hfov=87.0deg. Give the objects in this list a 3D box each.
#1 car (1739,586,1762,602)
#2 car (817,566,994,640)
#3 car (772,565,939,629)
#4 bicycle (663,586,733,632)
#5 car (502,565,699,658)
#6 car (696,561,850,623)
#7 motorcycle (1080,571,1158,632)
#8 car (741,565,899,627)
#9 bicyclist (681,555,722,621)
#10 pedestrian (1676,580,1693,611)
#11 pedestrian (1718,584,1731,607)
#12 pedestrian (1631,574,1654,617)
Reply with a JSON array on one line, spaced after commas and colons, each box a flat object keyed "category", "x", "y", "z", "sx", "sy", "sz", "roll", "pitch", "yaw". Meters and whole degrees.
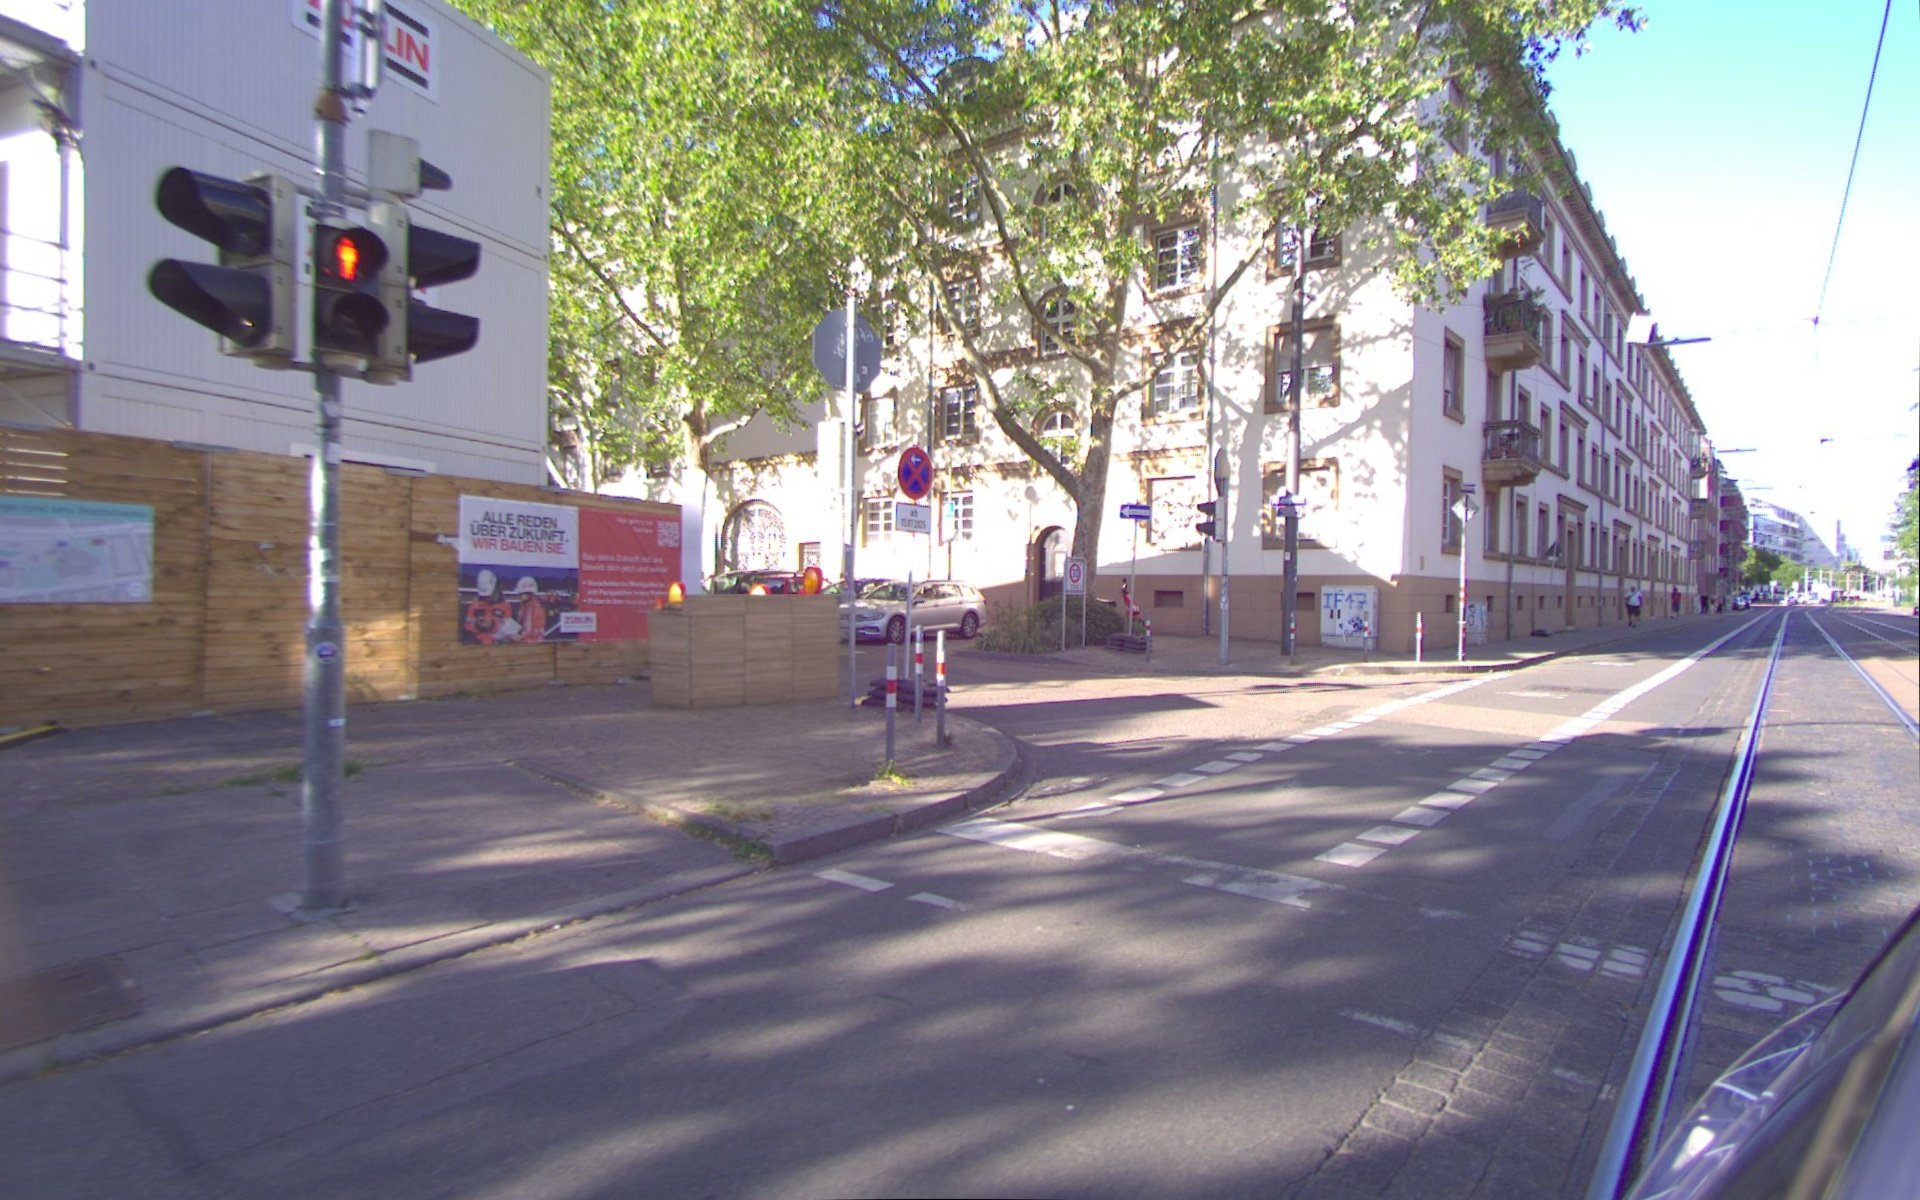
[{"category": "car", "x": 85.989, "y": -0.659, "z": 110.163, "sx": 1.879, "sy": 1.705, "sz": 4.333, "roll": 1, "pitch": 0, "yaw": 37}, {"category": "car", "x": -1.204, "y": 0.029, "z": 24.251, "sx": 1.720, "sy": 1.590, "sz": 4.413, "roll": 2, "pitch": 2, "yaw": 39}, {"category": "car", "x": -2.618, "y": -0.118, "z": 26.365, "sx": 1.720, "sy": 1.519, "sz": 4.413, "roll": 2, "pitch": 2, "yaw": 39}, {"category": "bicycle", "x": -6.336, "y": 0.204, "z": 24.420, "sx": 1.900, "sy": 1.029, "sz": 0.681, "roll": 2, "pitch": 0, "yaw": 42}, {"category": "car", "x": -6.768, "y": 0.124, "z": 18.892, "sx": 3.981, "sy": 1.512, "sz": 1.626, "roll": 2, "pitch": 4, "yaw": 39}, {"category": "car", "x": -5.432, "y": -0.261, "z": 29.906, "sx": 1.720, "sy": 1.691, "sz": 4.413, "roll": 2, "pitch": 2, "yaw": 39}, {"category": "motorcycle", "x": 3.704, "y": 0.022, "z": 23.649, "sx": 1.754, "sy": 1.349, "sz": 0.508, "roll": 2, "pitch": 1, "yaw": 39}, {"category": "car", "x": -3.861, "y": -0.142, "z": 28.548, "sx": 1.720, "sy": 1.590, "sz": 4.413, "roll": 2, "pitch": 2, "yaw": 39}, {"category": "bicyclist", "x": -6.220, "y": -0.287, "z": 24.342, "sx": 0.666, "sy": 1.532, "sz": 0.668, "roll": 1, "pitch": -1, "yaw": 42}, {"category": "pedestrian", "x": 44.415, "y": -0.276, "z": 62.033, "sx": 0.734, "sy": 1.860, "sz": 0.687, "roll": 2, "pitch": 1, "yaw": 39}, {"category": "pedestrian", "x": 61.928, "y": -0.348, "z": 81.979, "sx": 0.734, "sy": 1.860, "sz": 0.687, "roll": 2, "pitch": 1, "yaw": 39}, {"category": "pedestrian", "x": 29.835, "y": -0.200, "z": 44.241, "sx": 0.734, "sy": 1.860, "sz": 0.687, "roll": 2, "pitch": 1, "yaw": 39}]
